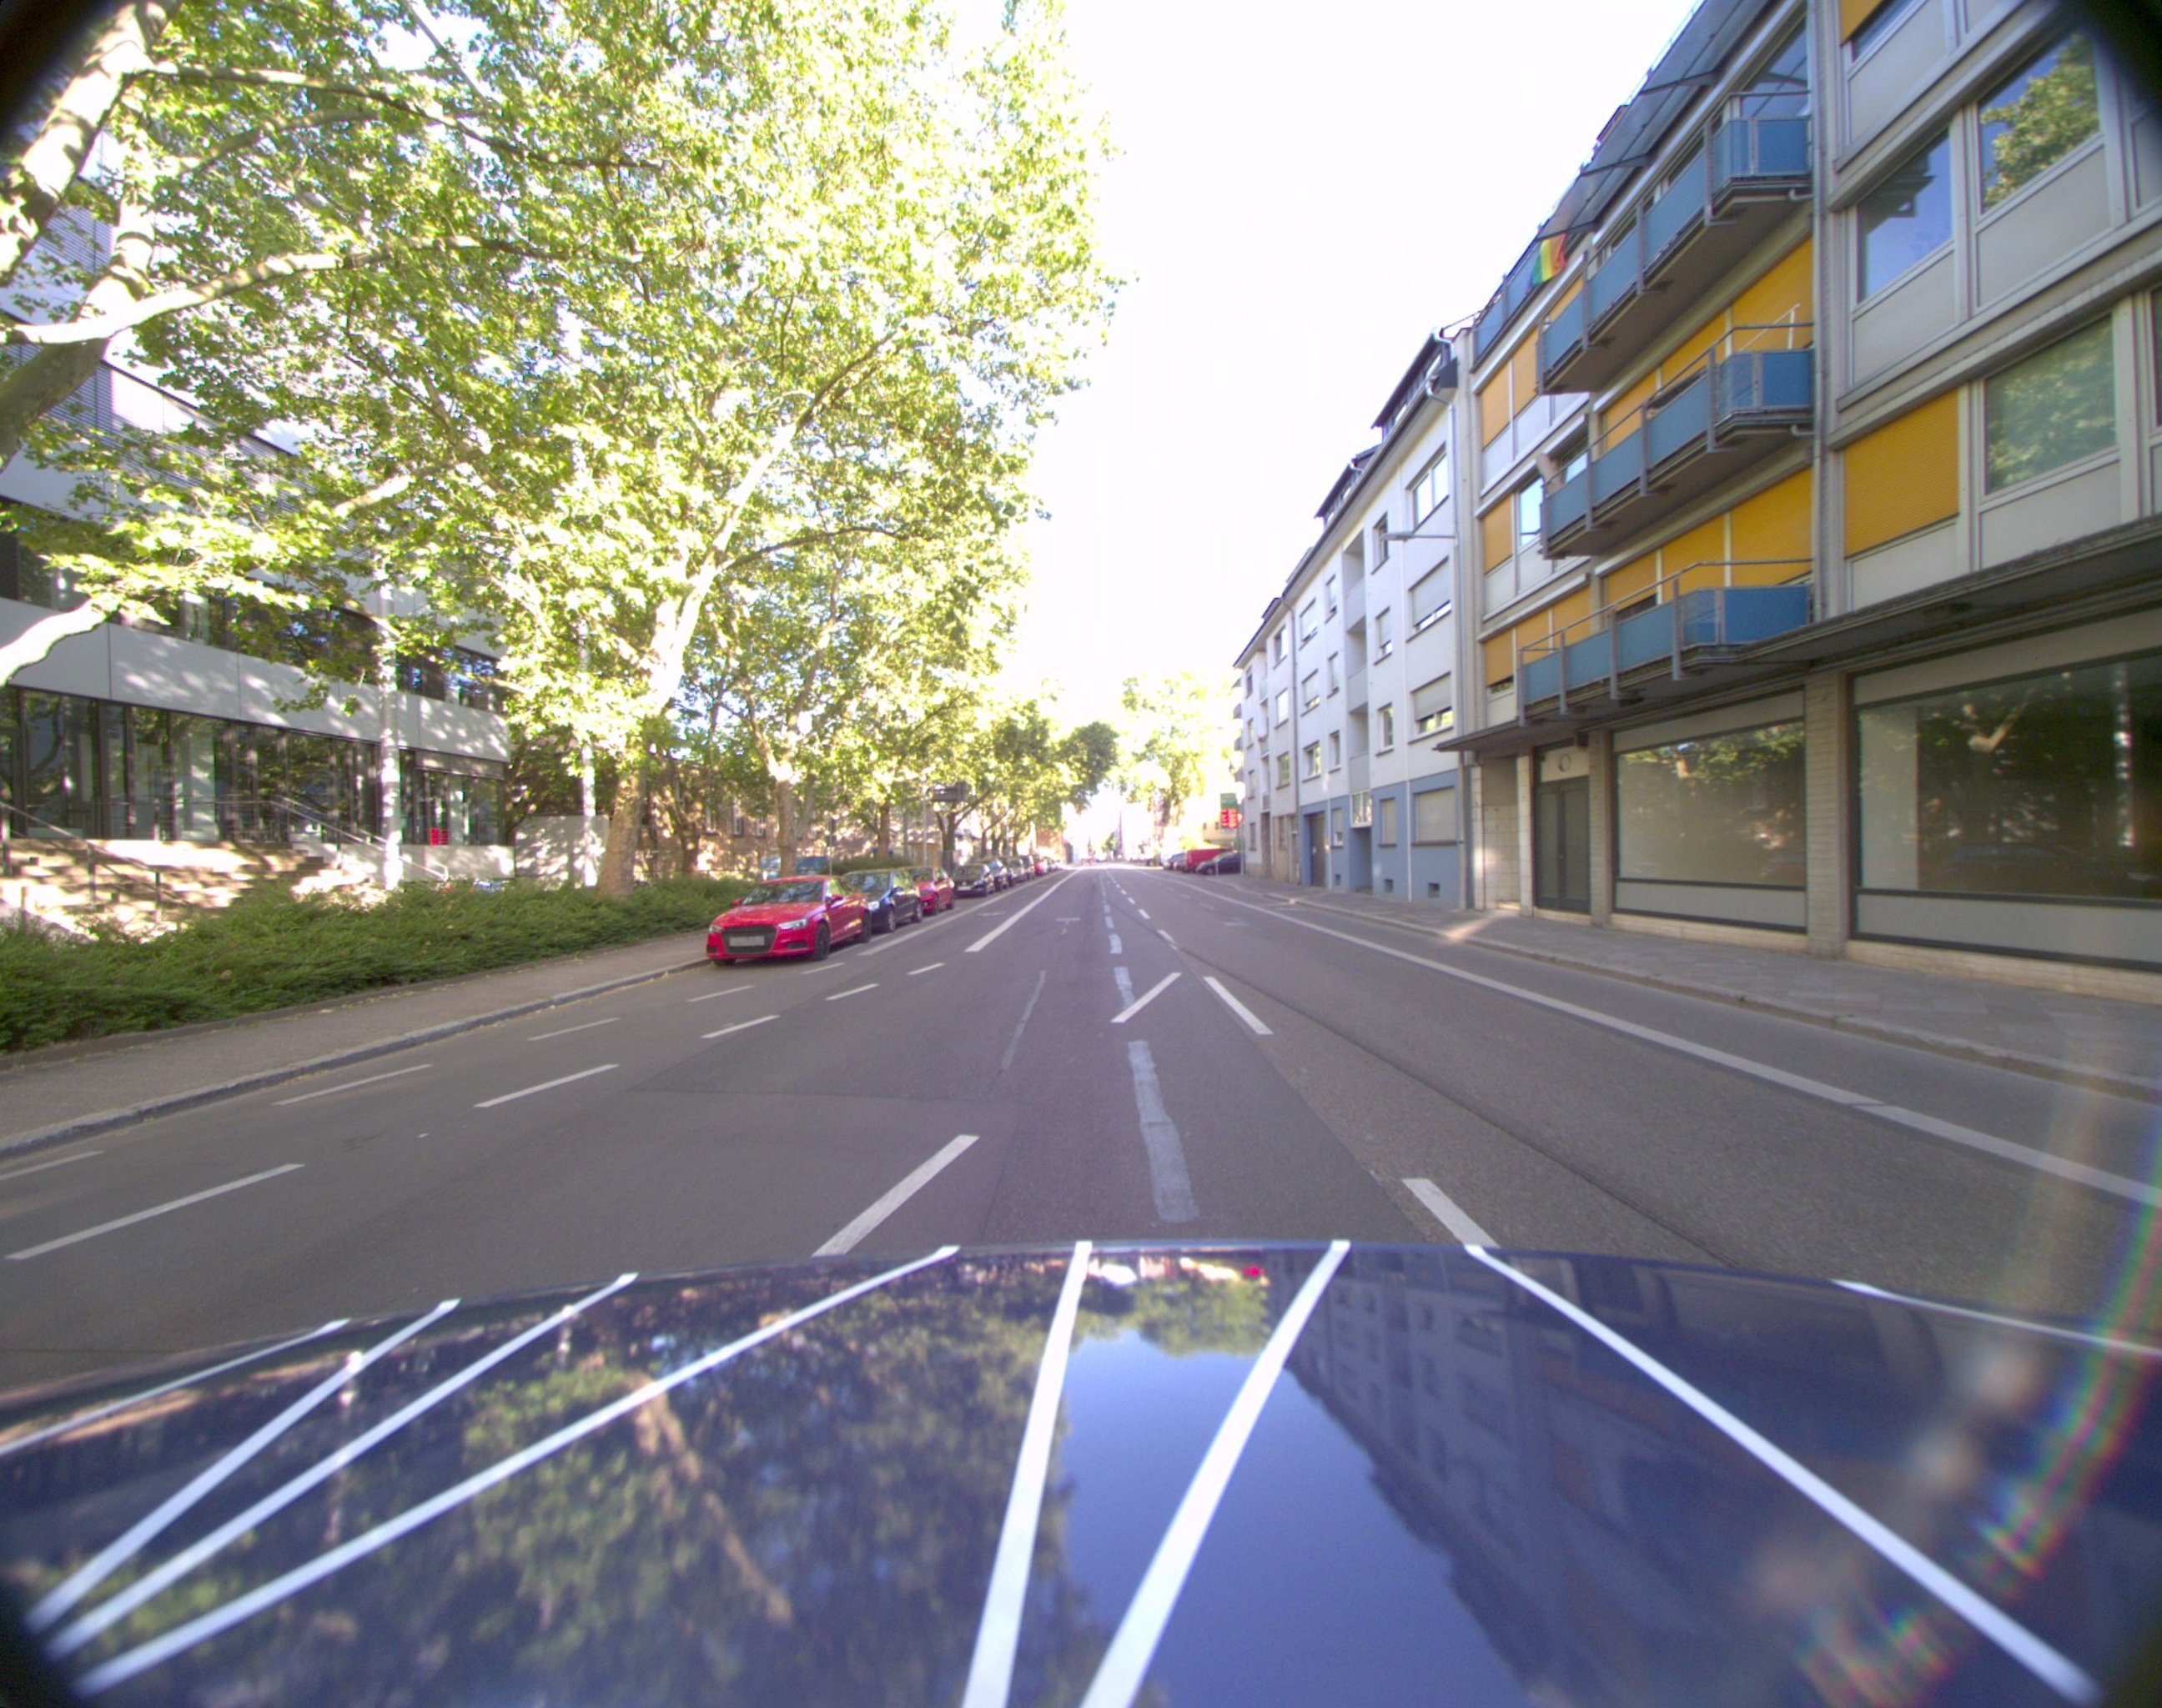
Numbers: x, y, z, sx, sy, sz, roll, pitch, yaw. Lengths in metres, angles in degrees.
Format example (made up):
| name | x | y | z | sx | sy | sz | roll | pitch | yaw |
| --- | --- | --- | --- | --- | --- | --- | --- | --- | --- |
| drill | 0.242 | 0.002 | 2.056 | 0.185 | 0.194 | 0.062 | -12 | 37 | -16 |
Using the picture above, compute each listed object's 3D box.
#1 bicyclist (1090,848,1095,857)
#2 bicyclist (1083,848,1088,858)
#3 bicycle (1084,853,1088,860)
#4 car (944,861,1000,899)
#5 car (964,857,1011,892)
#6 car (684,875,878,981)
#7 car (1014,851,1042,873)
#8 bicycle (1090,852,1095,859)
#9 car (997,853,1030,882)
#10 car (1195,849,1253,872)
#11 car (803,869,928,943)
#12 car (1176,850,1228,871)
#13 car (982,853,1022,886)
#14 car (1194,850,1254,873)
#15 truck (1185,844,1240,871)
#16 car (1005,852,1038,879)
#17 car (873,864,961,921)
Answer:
| name | x | y | z | sx | sy | sz | roll | pitch | yaw |
| --- | --- | --- | --- | --- | --- | --- | --- | --- | --- |
| bicyclist | 1.878 | -0.241 | 127.539 | 0.718 | 1.573 | 0.936 | -2 | 1 | 1 |
| bicyclist | 0.784 | -0.143 | 127.188 | 0.718 | 1.573 | 0.936 | -2 | 1 | 1 |
| bicycle | 0.819 | 0.381 | 127.250 | 0.717 | 1.052 | 2.485 | -2 | 1 | 1 |
| car | -4.712 | 1.080 | 33.393 | 1.790 | 1.451 | 4.163 | -3 | 0 | 0 |
| car | -4.610 | 0.980 | 38.138 | 1.790 | 1.544 | 4.163 | -3 | 0 | 0 |
| car | -5.149 | 1.196 | 13.727 | 1.818 | 1.405 | 4.163 | -3 | 0 | 0 |
| car | -4.597 | 0.700 | 66.099 | 2.042 | 1.745 | 4.552 | -3 | 0 | 0 |
| bicycle | 1.905 | 0.299 | 127.470 | 0.717 | 1.052 | 2.485 | -2 | 1 | 1 |
| car | -4.454 | 0.854 | 50.710 | 1.790 | 1.745 | 4.552 | -3 | 0 | 0 |
| car | 10.721 | 0.485 | 57.147 | 3.996 | 1.494 | 1.761 | -2 | 1 | 2 |
| car | -5.094 | 1.173 | 18.583 | 1.818 | 1.405 | 4.163 | -3 | 0 | 0 |
| car | 9.972 | 0.531 | 62.850 | 3.996 | 1.494 | 1.761 | -2 | 1 | 2 |
| car | -4.533 | 0.871 | 44.155 | 1.790 | 1.745 | 4.345 | -3 | 0 | 0 |
| car | 10.247 | 0.552 | 54.800 | 3.996 | 1.449 | 1.761 | -2 | 1 | 2 |
| truck | 10.361 | 0.251 | 59.996 | 3.996 | 1.925 | 1.761 | -2 | 1 | 2 |
| car | -4.324 | 0.798 | 55.669 | 2.042 | 1.745 | 4.552 | -3 | 0 | 0 |
| car | -5.040 | 1.127 | 23.866 | 1.818 | 1.475 | 4.163 | -3 | 0 | 0 |
